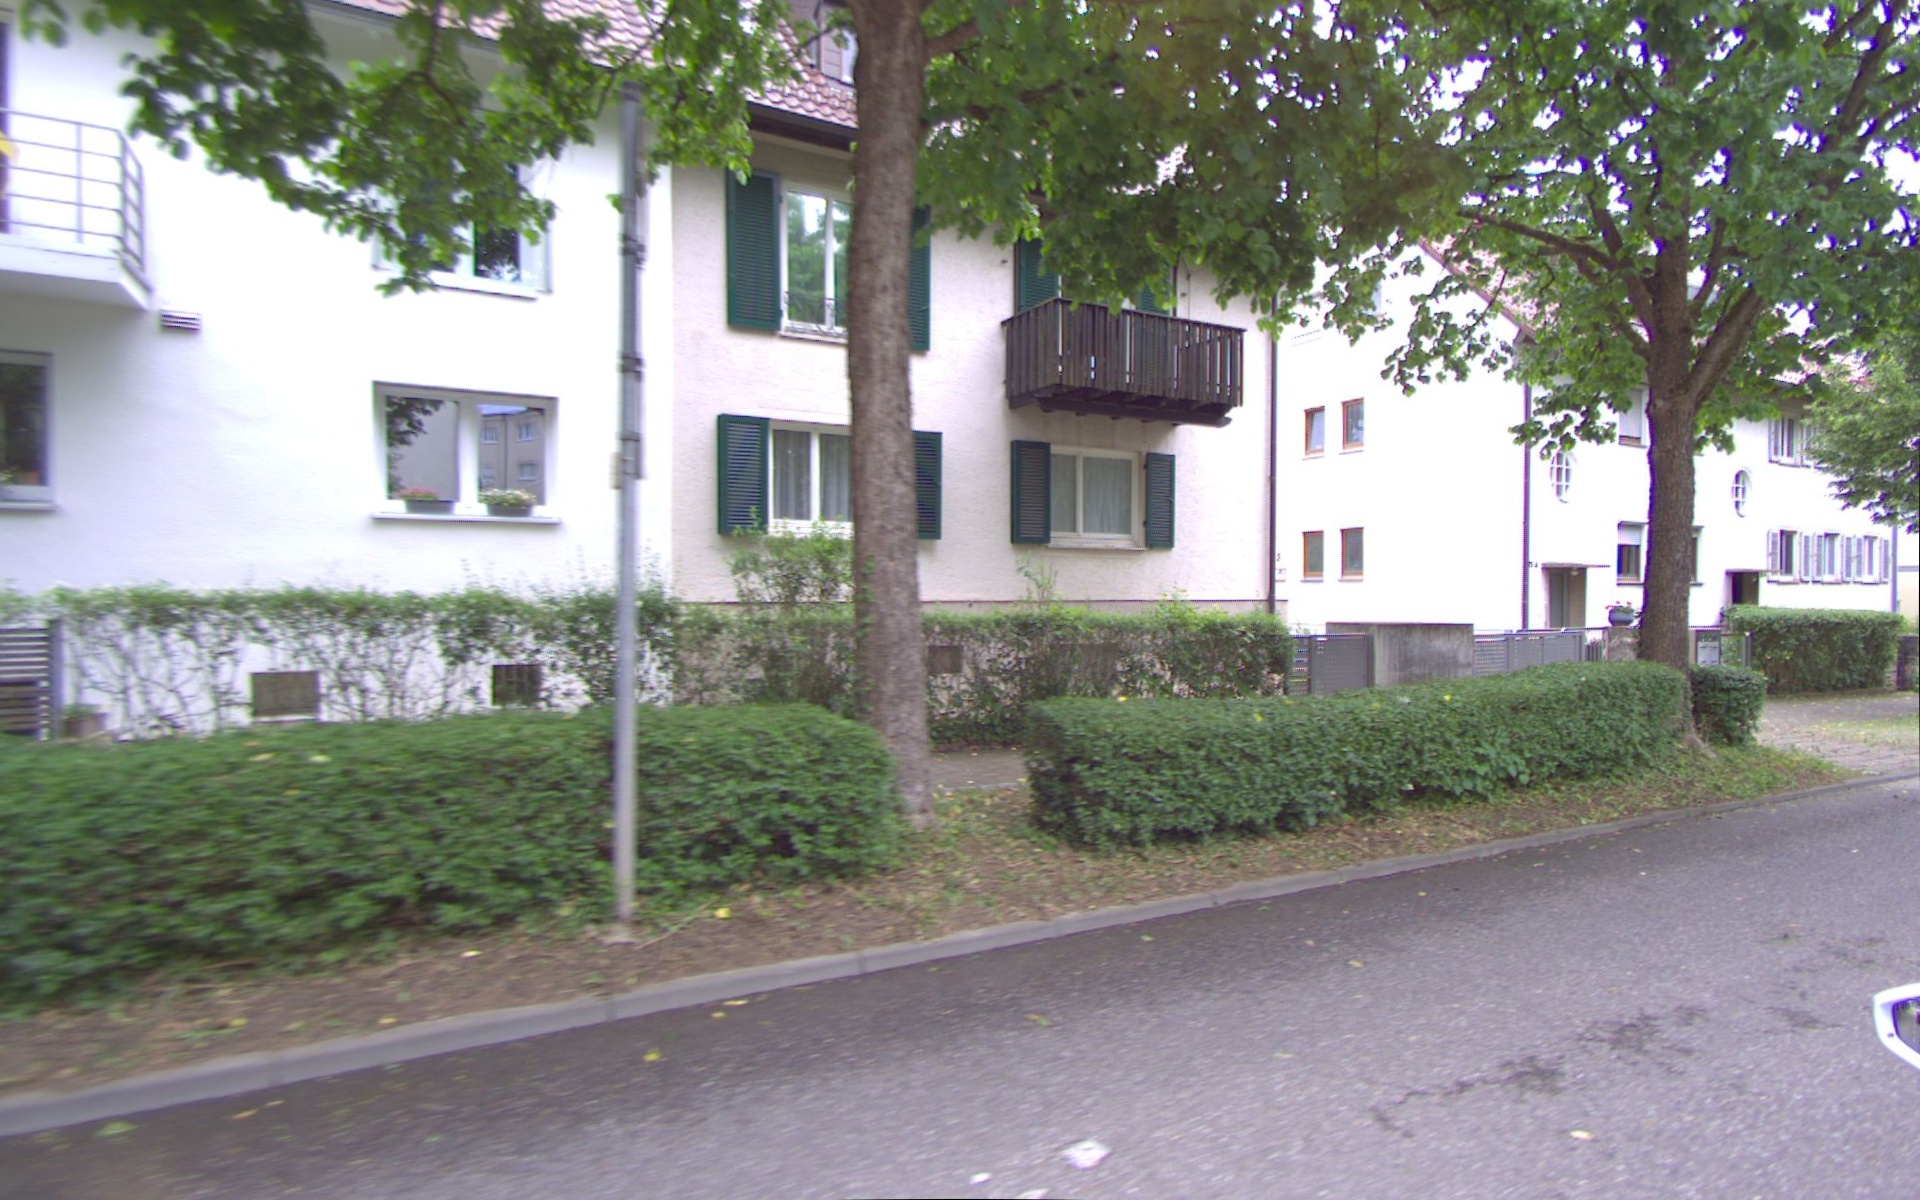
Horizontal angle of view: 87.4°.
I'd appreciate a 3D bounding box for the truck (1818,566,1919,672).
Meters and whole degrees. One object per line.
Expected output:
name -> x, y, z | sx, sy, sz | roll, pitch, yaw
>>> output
truck -> 30.262, 0.603, 30.579 | 2.488, 3.173, 5.769 | 1, 0, -30
